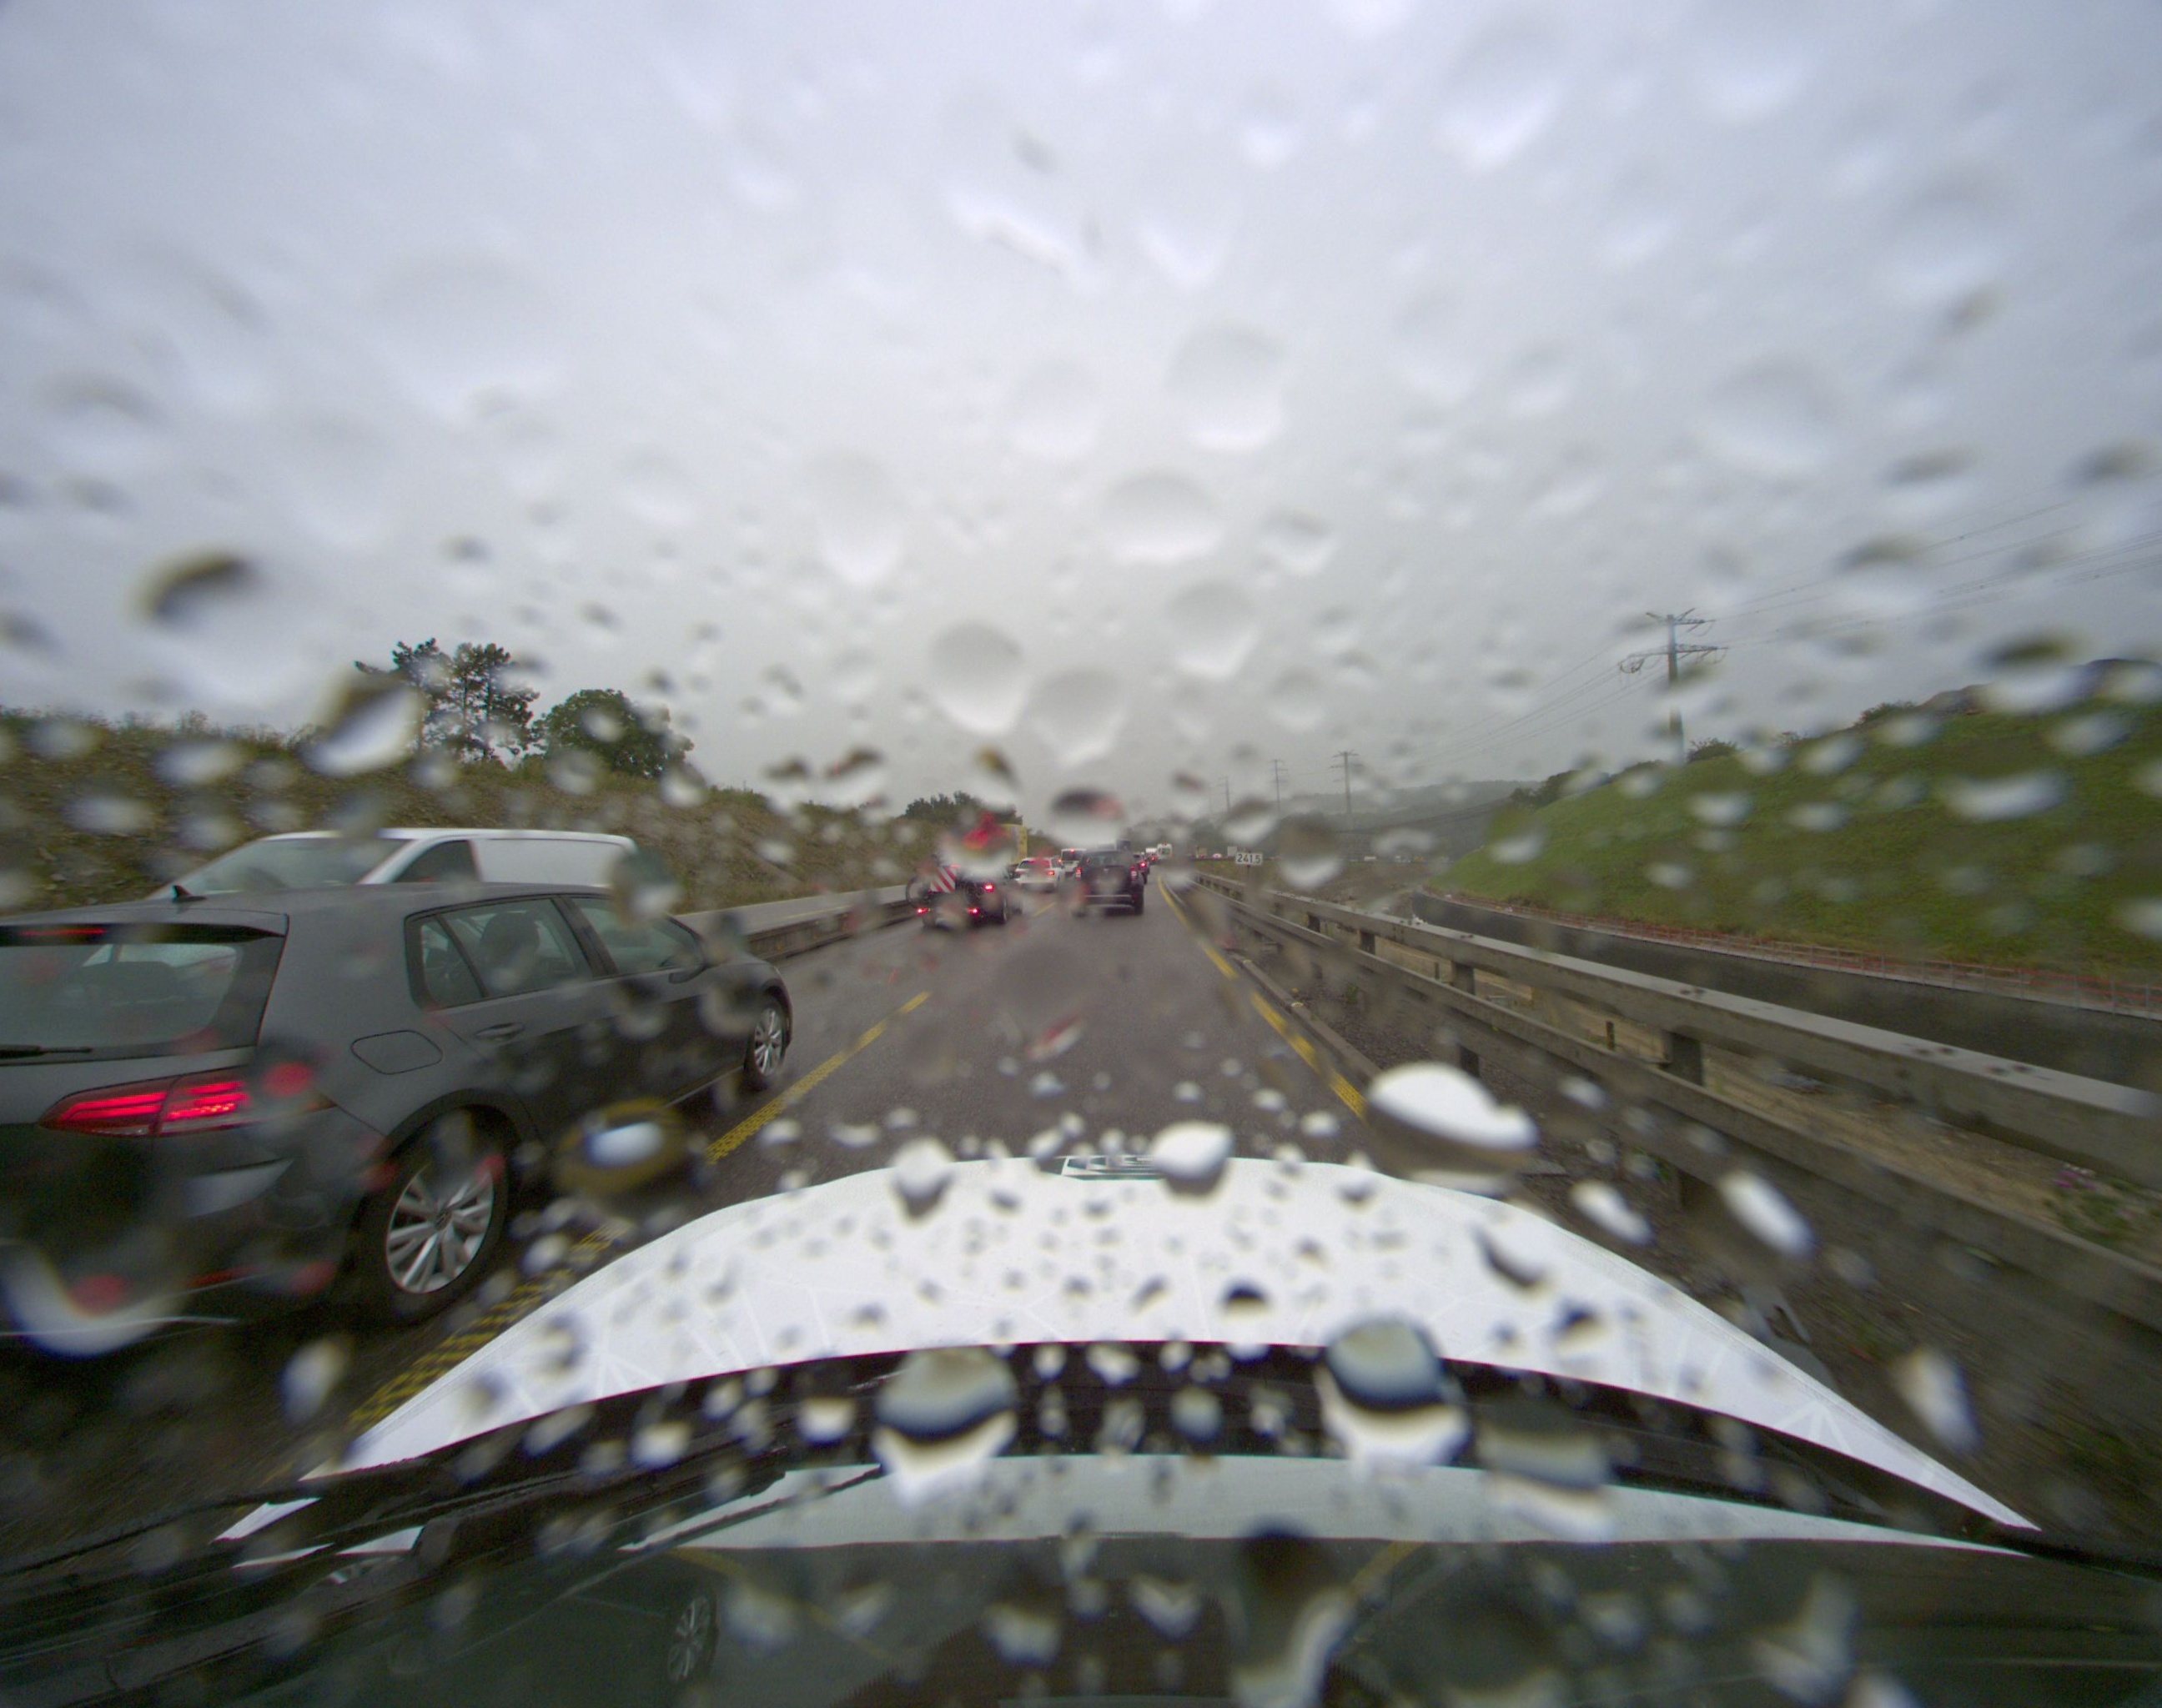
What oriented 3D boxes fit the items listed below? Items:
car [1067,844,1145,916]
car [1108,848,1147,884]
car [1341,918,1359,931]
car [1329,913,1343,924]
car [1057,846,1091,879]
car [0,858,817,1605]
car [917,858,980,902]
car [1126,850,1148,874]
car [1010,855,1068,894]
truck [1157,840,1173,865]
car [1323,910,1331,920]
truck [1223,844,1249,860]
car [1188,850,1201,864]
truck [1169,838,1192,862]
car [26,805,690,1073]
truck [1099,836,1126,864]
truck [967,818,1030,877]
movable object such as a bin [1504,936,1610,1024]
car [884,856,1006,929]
[{"bbox_3d":[0.737,0.618,20.984,1.796,1.646,3.781,-1,0,4],"label":"car"},{"bbox_3d":[2.361,0.570,40.633,1.859,1.708,4.005,0,0,4],"label":"car"},{"bbox_3d":[49.432,12.960,149.864,2.354,2.013,4.006,0,0,5],"label":"car"},{"bbox_3d":[52.421,13.247,167.344,1.983,1.816,4.008,-1,0,7],"label":"car"},{"bbox_3d":[-0.358,0.490,47.877,1.653,1.880,4.024,0,0,4],"label":"car"},{"bbox_3d":[-2.865,0.821,3.877,1.608,1.506,4.370,-3,0,2],"label":"car"},{"bbox_3d":[-5.061,0.952,31.618,1.754,1.597,4.000,0,0,1],"label":"car"},{"bbox_3d":[3.988,0.553,58.840,1.524,1.640,4.016,0,0,3],"label":"car"},{"bbox_3d":[-1.661,0.794,33.685,1.859,1.460,4.553,0,0,4],"label":"car"},{"bbox_3d":[11.097,-0.163,107.212,2.138,3.166,6.471,0,0,6],"label":"truck"},{"bbox_3d":[60.014,14.929,198.597,1.978,2.013,4.018,0,0,18],"label":"car"},{"bbox_3d":[41.919,-0.440,219.354,4.678,4.150,15.759,0,0,19],"label":"truck"},{"bbox_3d":[15.814,0.459,113.491,1.765,1.916,4.009,0,0,8],"label":"car"},{"bbox_3d":[16.301,-0.606,132.959,3.180,3.761,8.534,0,0,10],"label":"truck"},{"bbox_3d":[-6.379,0.595,8.387,1.993,1.887,5.276,0,0,2],"label":"car"},{"bbox_3d":[5.082,-0.606,129.491,2.917,4.097,14.421,0,0,8],"label":"truck"},{"bbox_3d":[-5.863,-0.457,59.547,2.754,3.996,8.438,-1,0,7],"label":"truck"},{"bbox_3d":[24.824,6.505,42.713,3.201,3.867,4.125,1,1,2],"label":"movable object such as a bin"},{"bbox_3d":[-2.980,0.799,18.667,1.820,1.476,3.781,-1,0,5],"label":"car"}]
